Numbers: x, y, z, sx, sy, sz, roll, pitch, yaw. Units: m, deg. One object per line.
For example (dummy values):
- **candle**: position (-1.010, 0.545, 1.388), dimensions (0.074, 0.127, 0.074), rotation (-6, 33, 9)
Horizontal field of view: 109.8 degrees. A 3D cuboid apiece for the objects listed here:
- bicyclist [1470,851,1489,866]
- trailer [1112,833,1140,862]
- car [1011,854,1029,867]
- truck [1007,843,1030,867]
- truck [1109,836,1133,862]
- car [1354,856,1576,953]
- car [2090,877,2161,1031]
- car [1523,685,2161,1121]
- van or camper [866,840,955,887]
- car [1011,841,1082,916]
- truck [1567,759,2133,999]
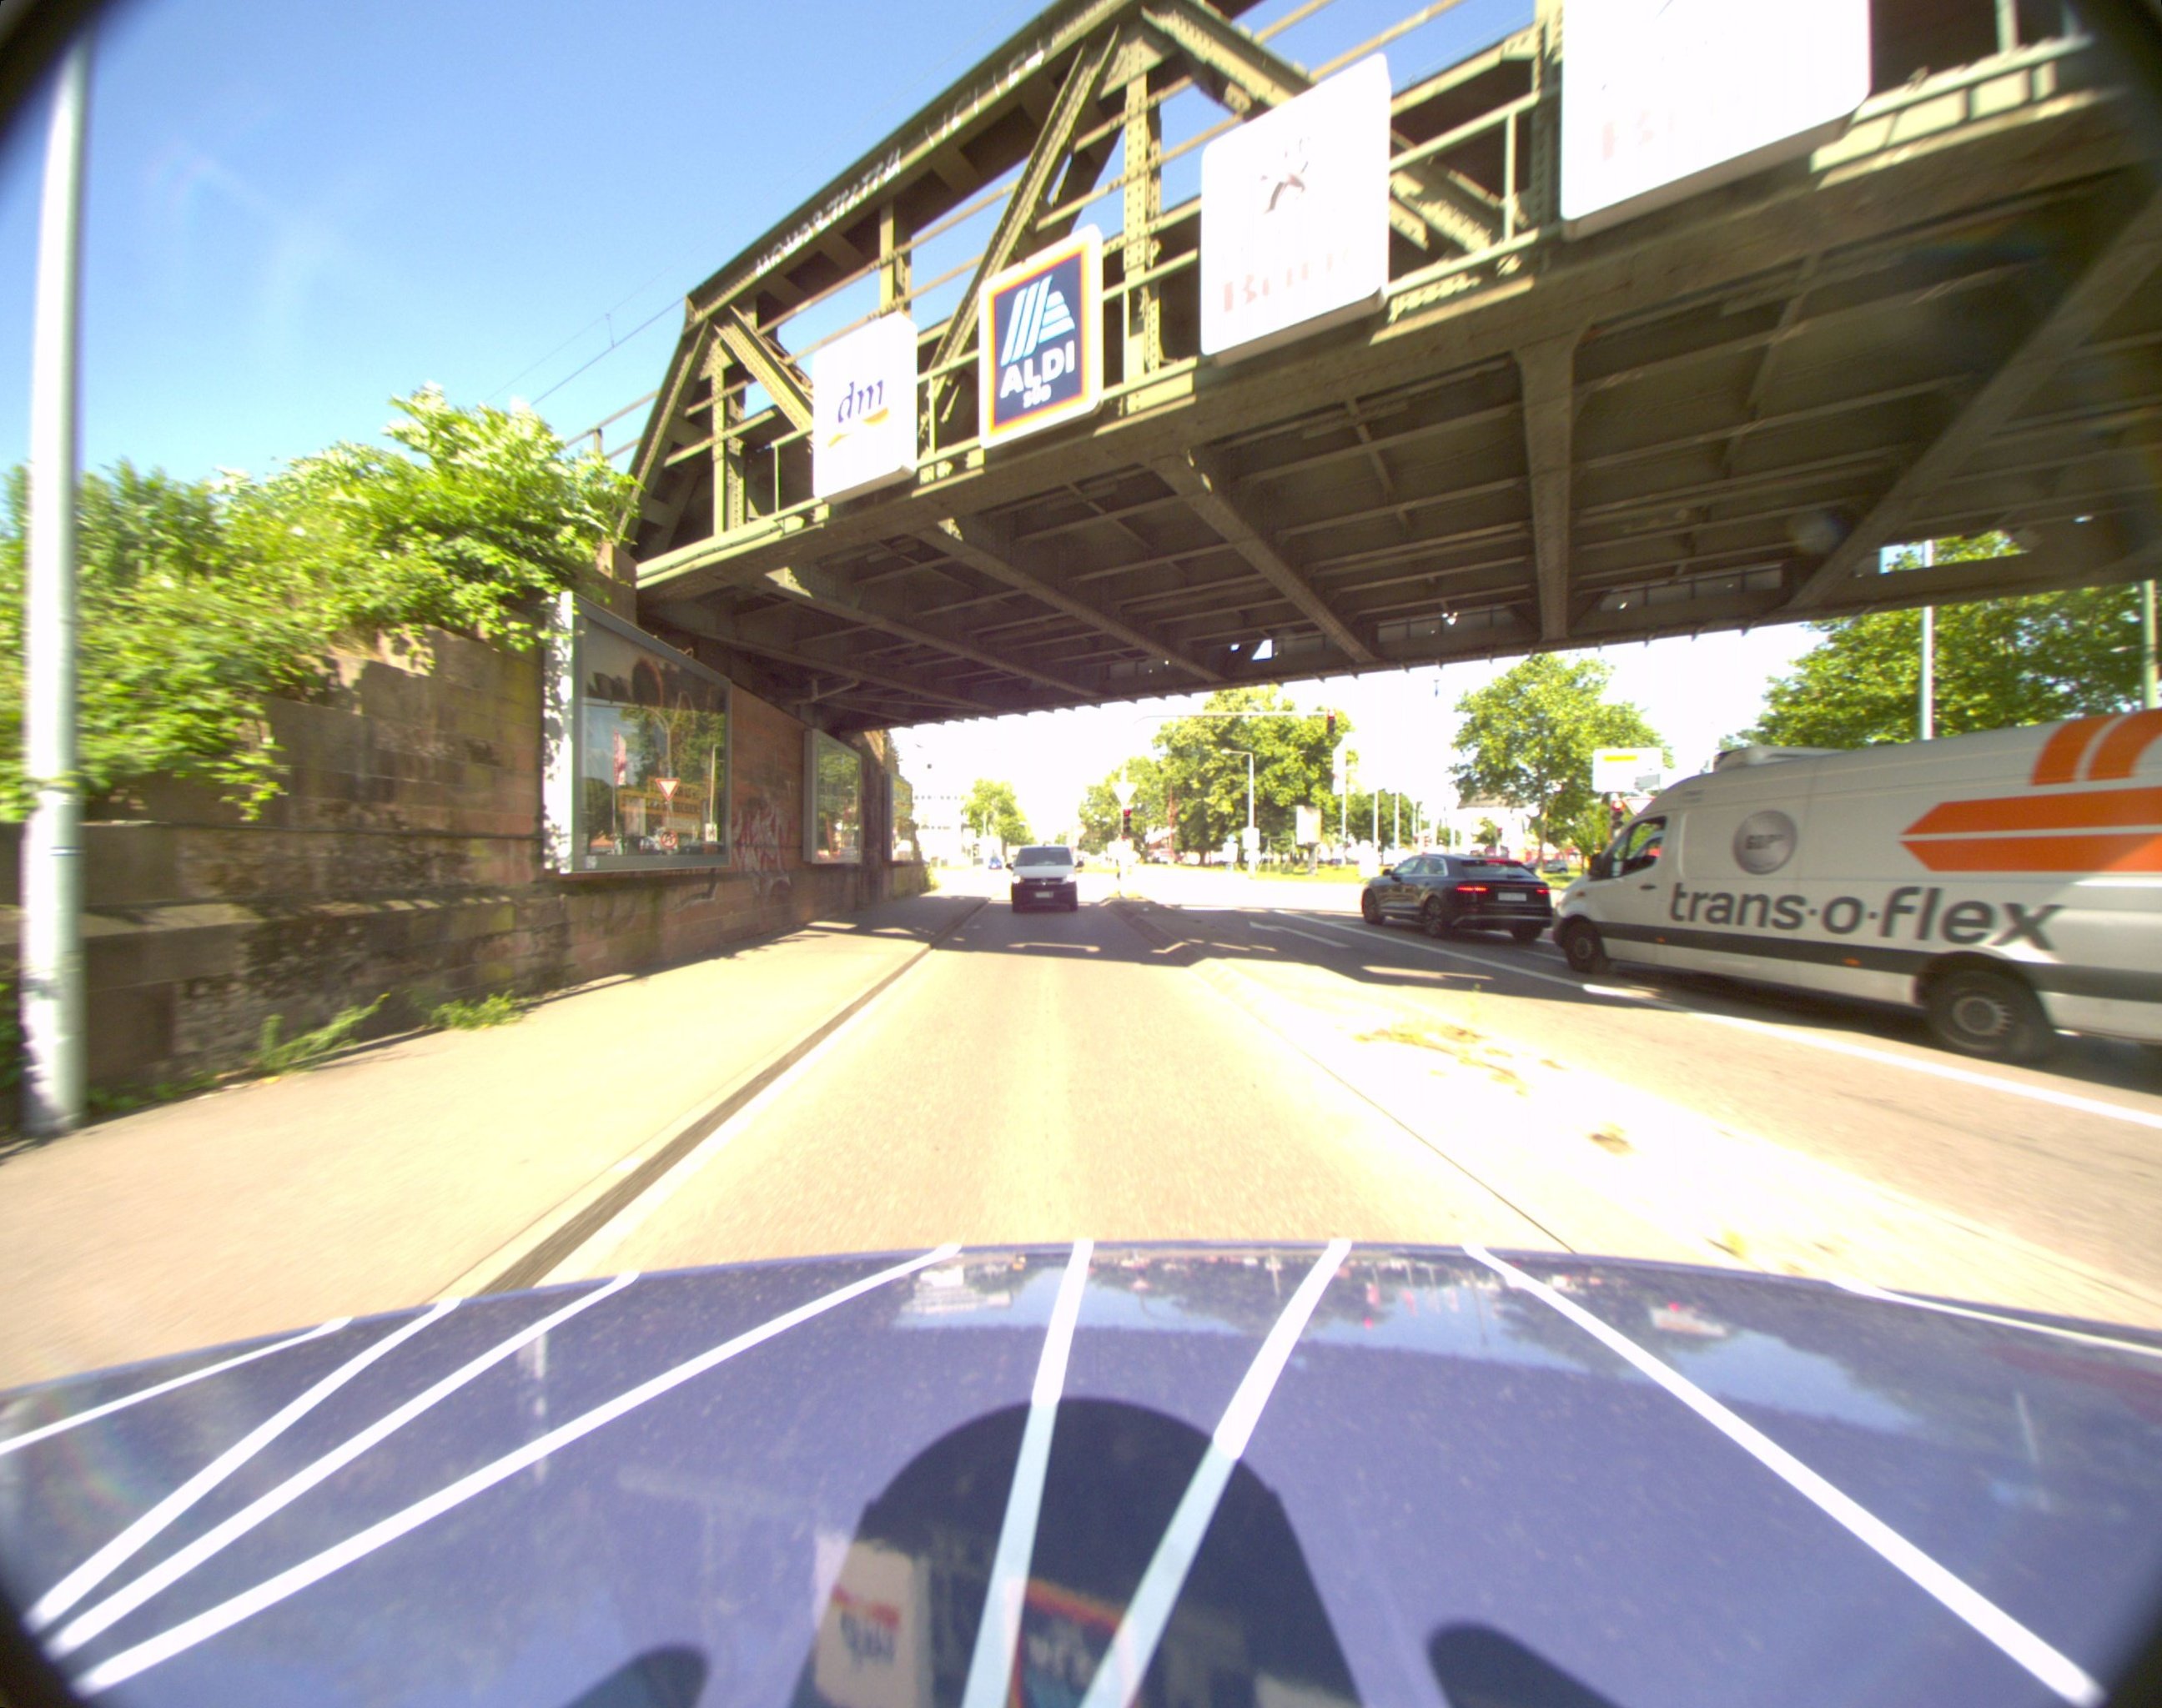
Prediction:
- **bicyclist**: position (30.457, 0.350, 58.081), dimensions (0.892, 1.078, 0.951), rotation (0, 0, -3)
- **trailer**: position (6.815, -0.898, 117.674), dimensions (2.940, 3.938, 12.138), rotation (-2, -1, -3)
- **car**: position (-6.484, 0.660, 80.484), dimensions (1.824, 1.346, 3.997), rotation (0, 0, -6)
- **truck**: position (-7.970, 0.182, 96.458), dimensions (2.411, 2.845, 5.801), rotation (-2, -1, -8)
- **truck**: position (6.534, -0.768, 124.521), dimensions (2.940, 3.966, 8.153), rotation (-2, -1, -3)
- **car**: position (7.593, 0.883, 15.734), dimensions (1.999, 1.671, 4.949), rotation (0, 0, -1)
- **car**: position (12.850, 1.095, 6.759), dimensions (1.989, 1.679, 4.287), rotation (2, -1, -2)
- **car**: position (7.729, 0.340, 7.664), dimensions (1.999, 2.788, 6.934), rotation (2, 0, -4)
- **van or camper**: position (-12.389, 0.707, 55.516), dimensions (5.776, 3.136, 2.601), rotation (-2, 0, 3)
- **car**: position (-1.028, 0.648, 22.766), dimensions (1.887, 1.982, 4.973), rotation (0, 0, -3)
- **truck**: position (12.246, 0.317, 13.349), dimensions (2.348, 3.070, 7.066), rotation (0, 0, -6)
